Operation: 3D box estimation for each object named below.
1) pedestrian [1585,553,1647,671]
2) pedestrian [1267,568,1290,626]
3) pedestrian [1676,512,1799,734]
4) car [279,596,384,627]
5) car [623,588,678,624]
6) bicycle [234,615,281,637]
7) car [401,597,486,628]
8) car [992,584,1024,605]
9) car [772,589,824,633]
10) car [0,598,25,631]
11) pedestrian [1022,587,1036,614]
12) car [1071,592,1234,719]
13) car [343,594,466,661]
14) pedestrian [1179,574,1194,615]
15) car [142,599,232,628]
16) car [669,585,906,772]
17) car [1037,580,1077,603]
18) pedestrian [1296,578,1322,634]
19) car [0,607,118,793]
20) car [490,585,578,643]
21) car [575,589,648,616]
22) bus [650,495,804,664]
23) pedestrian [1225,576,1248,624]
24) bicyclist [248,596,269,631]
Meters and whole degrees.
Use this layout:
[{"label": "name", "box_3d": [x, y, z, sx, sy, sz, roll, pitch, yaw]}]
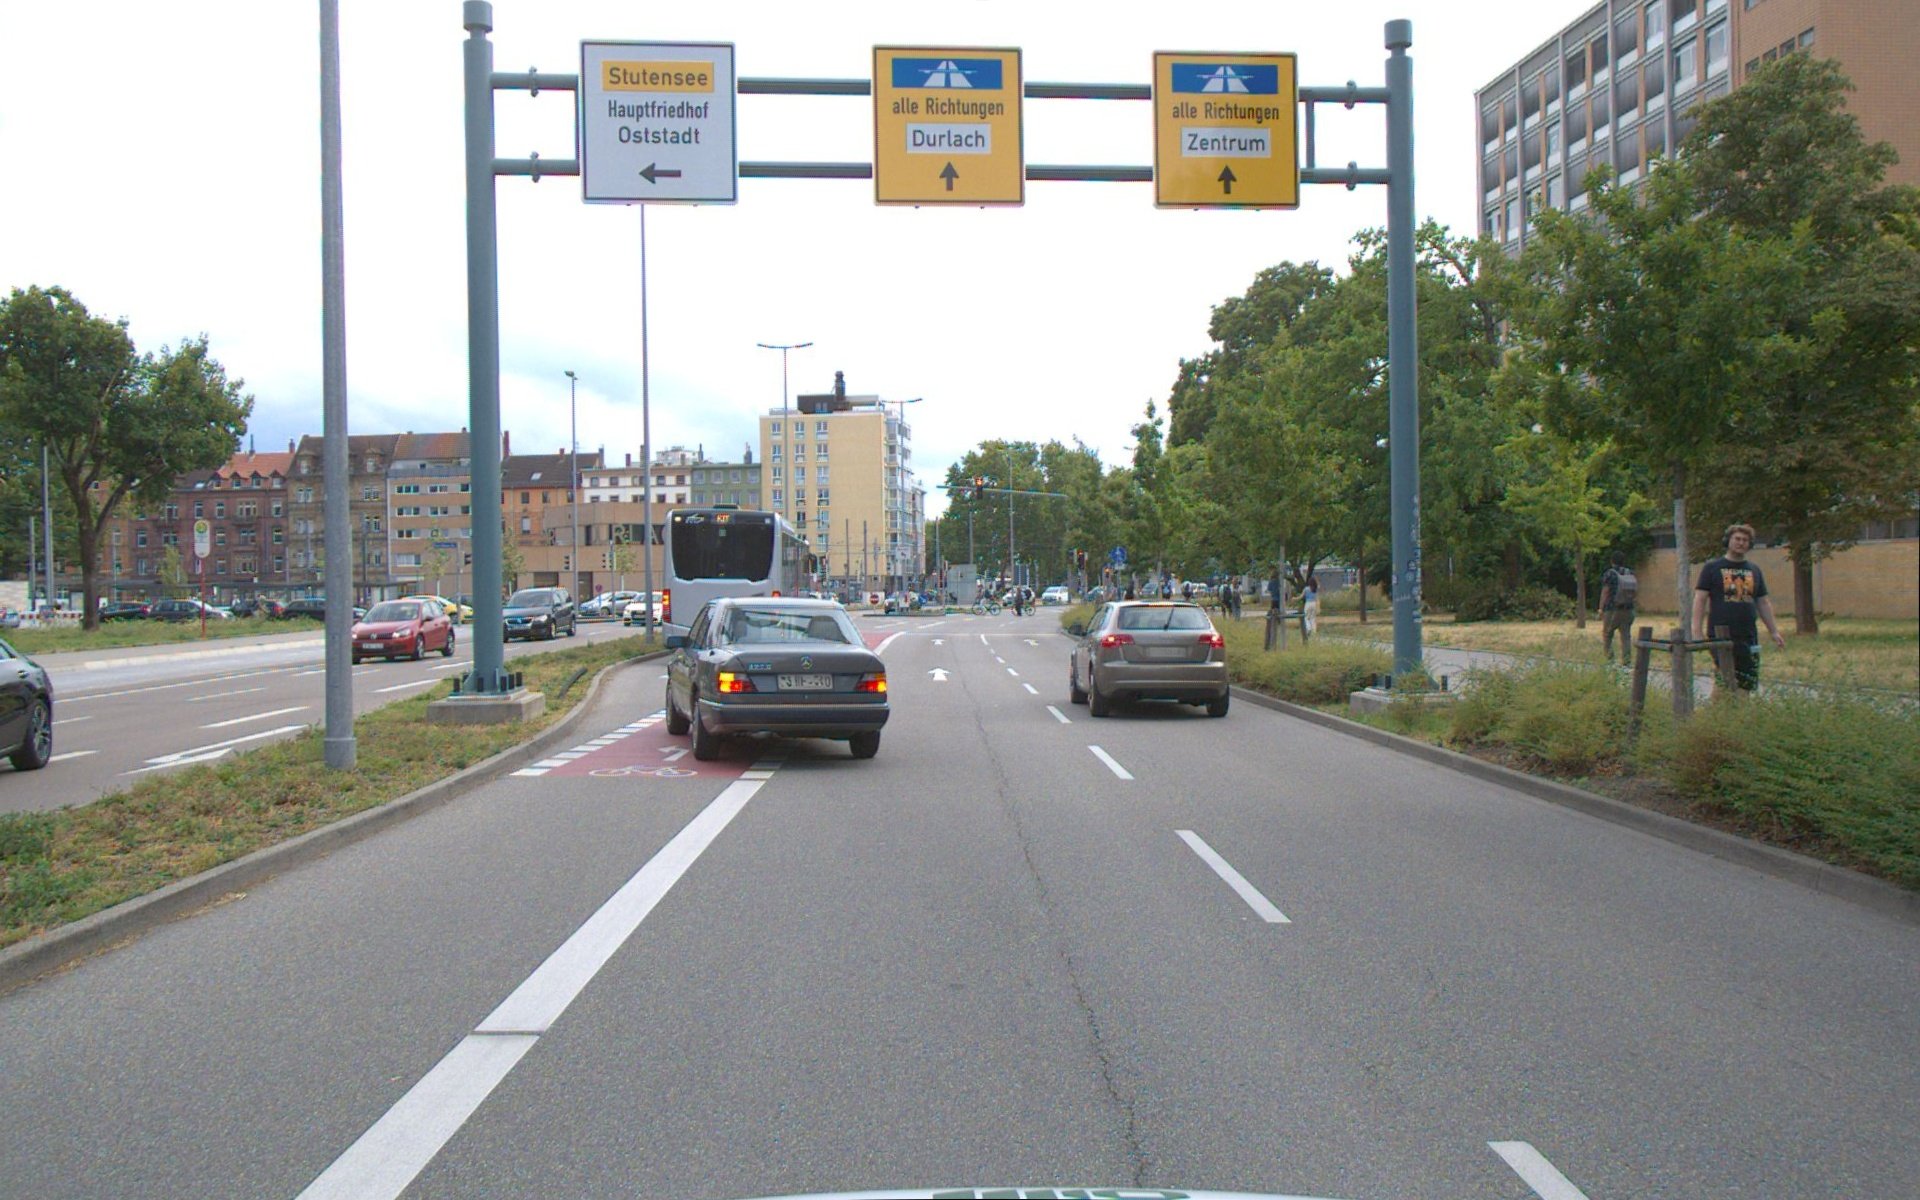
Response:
[{"label": "pedestrian", "box_3d": [9.725, 0.170, 24.538, 0.575, 1.712, 0.748, -1, 0, -1]}, {"label": "pedestrian", "box_3d": [9.825, -0.094, 51.051, 0.632, 1.743, 0.562, -1, 0, 13]}, {"label": "pedestrian", "box_3d": [6.815, 0.193, 14.504, 0.915, 1.862, 0.886, -1, 0, 26]}, {"label": "car", "box_3d": [-31.328, 0.572, 82.562, 4.579, 1.501, 1.658, 0, 0, -7]}, {"label": "car", "box_3d": [-13.186, 0.239, 70.654, 1.637, 1.413, 3.922, -2, 1, -1]}, {"label": "bicycle", "box_3d": [-33.739, 1.232, 79.442, 1.926, 0.999, 0.630, -1, 0, -7]}, {"label": "car", "box_3d": [-25.958, 0.611, 83.194, 3.782, 1.544, 1.658, 0, 0, -7]}, {"label": "car", "box_3d": [4.149, -0.458, 142.251, 1.951, 1.732, 4.003, -1, 1, 14]}, {"label": "car", "box_3d": [-5.547, 0.339, 57.008, 1.622, 1.421, 3.857, -1, 1, -4]}, {"label": "car", "box_3d": [-51.112, 0.793, 85.858, 4.075, 1.678, 1.644, -1, 0, -8]}, {"label": "pedestrian", "box_3d": [4.218, 0.047, 100.633, 0.551, 1.620, 0.623, 0, -2, -40]}, {"label": "car", "box_3d": [2.446, 0.657, 21.754, 1.689, 1.483, 3.736, -1, 1, 0]}, {"label": "car", "box_3d": [-13.713, 0.638, 41.072, 1.766, 1.515, 4.286, -1, 1, -3]}, {"label": "pedestrian", "box_3d": [11.535, -0.275, 84.202, 0.602, 2.049, 0.597, -1, 0, -3]}, {"label": "car", "box_3d": [-38.203, 0.654, 81.764, 3.691, 1.419, 1.582, 0, 0, -7]}, {"label": "car", "box_3d": [-1.787, 0.633, 15.865, 1.731, 1.515, 4.157, -1, 1, -13]}, {"label": "car", "box_3d": [9.590, -0.888, 163.340, 2.529, 2.146, 5.604, -1, 0, 18]}, {"label": "pedestrian", "box_3d": [9.604, 0.160, 45.502, 0.643, 1.496, 0.562, -1, 0, 15]}, {"label": "car", "box_3d": [-8.859, 0.859, 13.781, 1.767, 1.515, 4.400, -1, 1, -6]}, {"label": "car", "box_3d": [-13.762, 0.421, 53.660, 1.765, 1.694, 4.299, -3, 1, -2]}, {"label": "car", "box_3d": [-19.238, 0.128, 91.365, 3.644, 1.419, 1.564, 0, 0, -37]}, {"label": "bus", "box_3d": [-5.174, -0.474, 38.174, 2.775, 3.449, 8.178, -1, 1, -3]}, {"label": "pedestrian", "box_3d": [10.123, -0.010, 60.498, 0.784, 1.743, 0.765, -1, 0, 11]}, {"label": "bicyclist", "box_3d": [-33.700, 0.656, 79.461, 0.771, 1.672, 0.571, -1, 0, -7]}]
